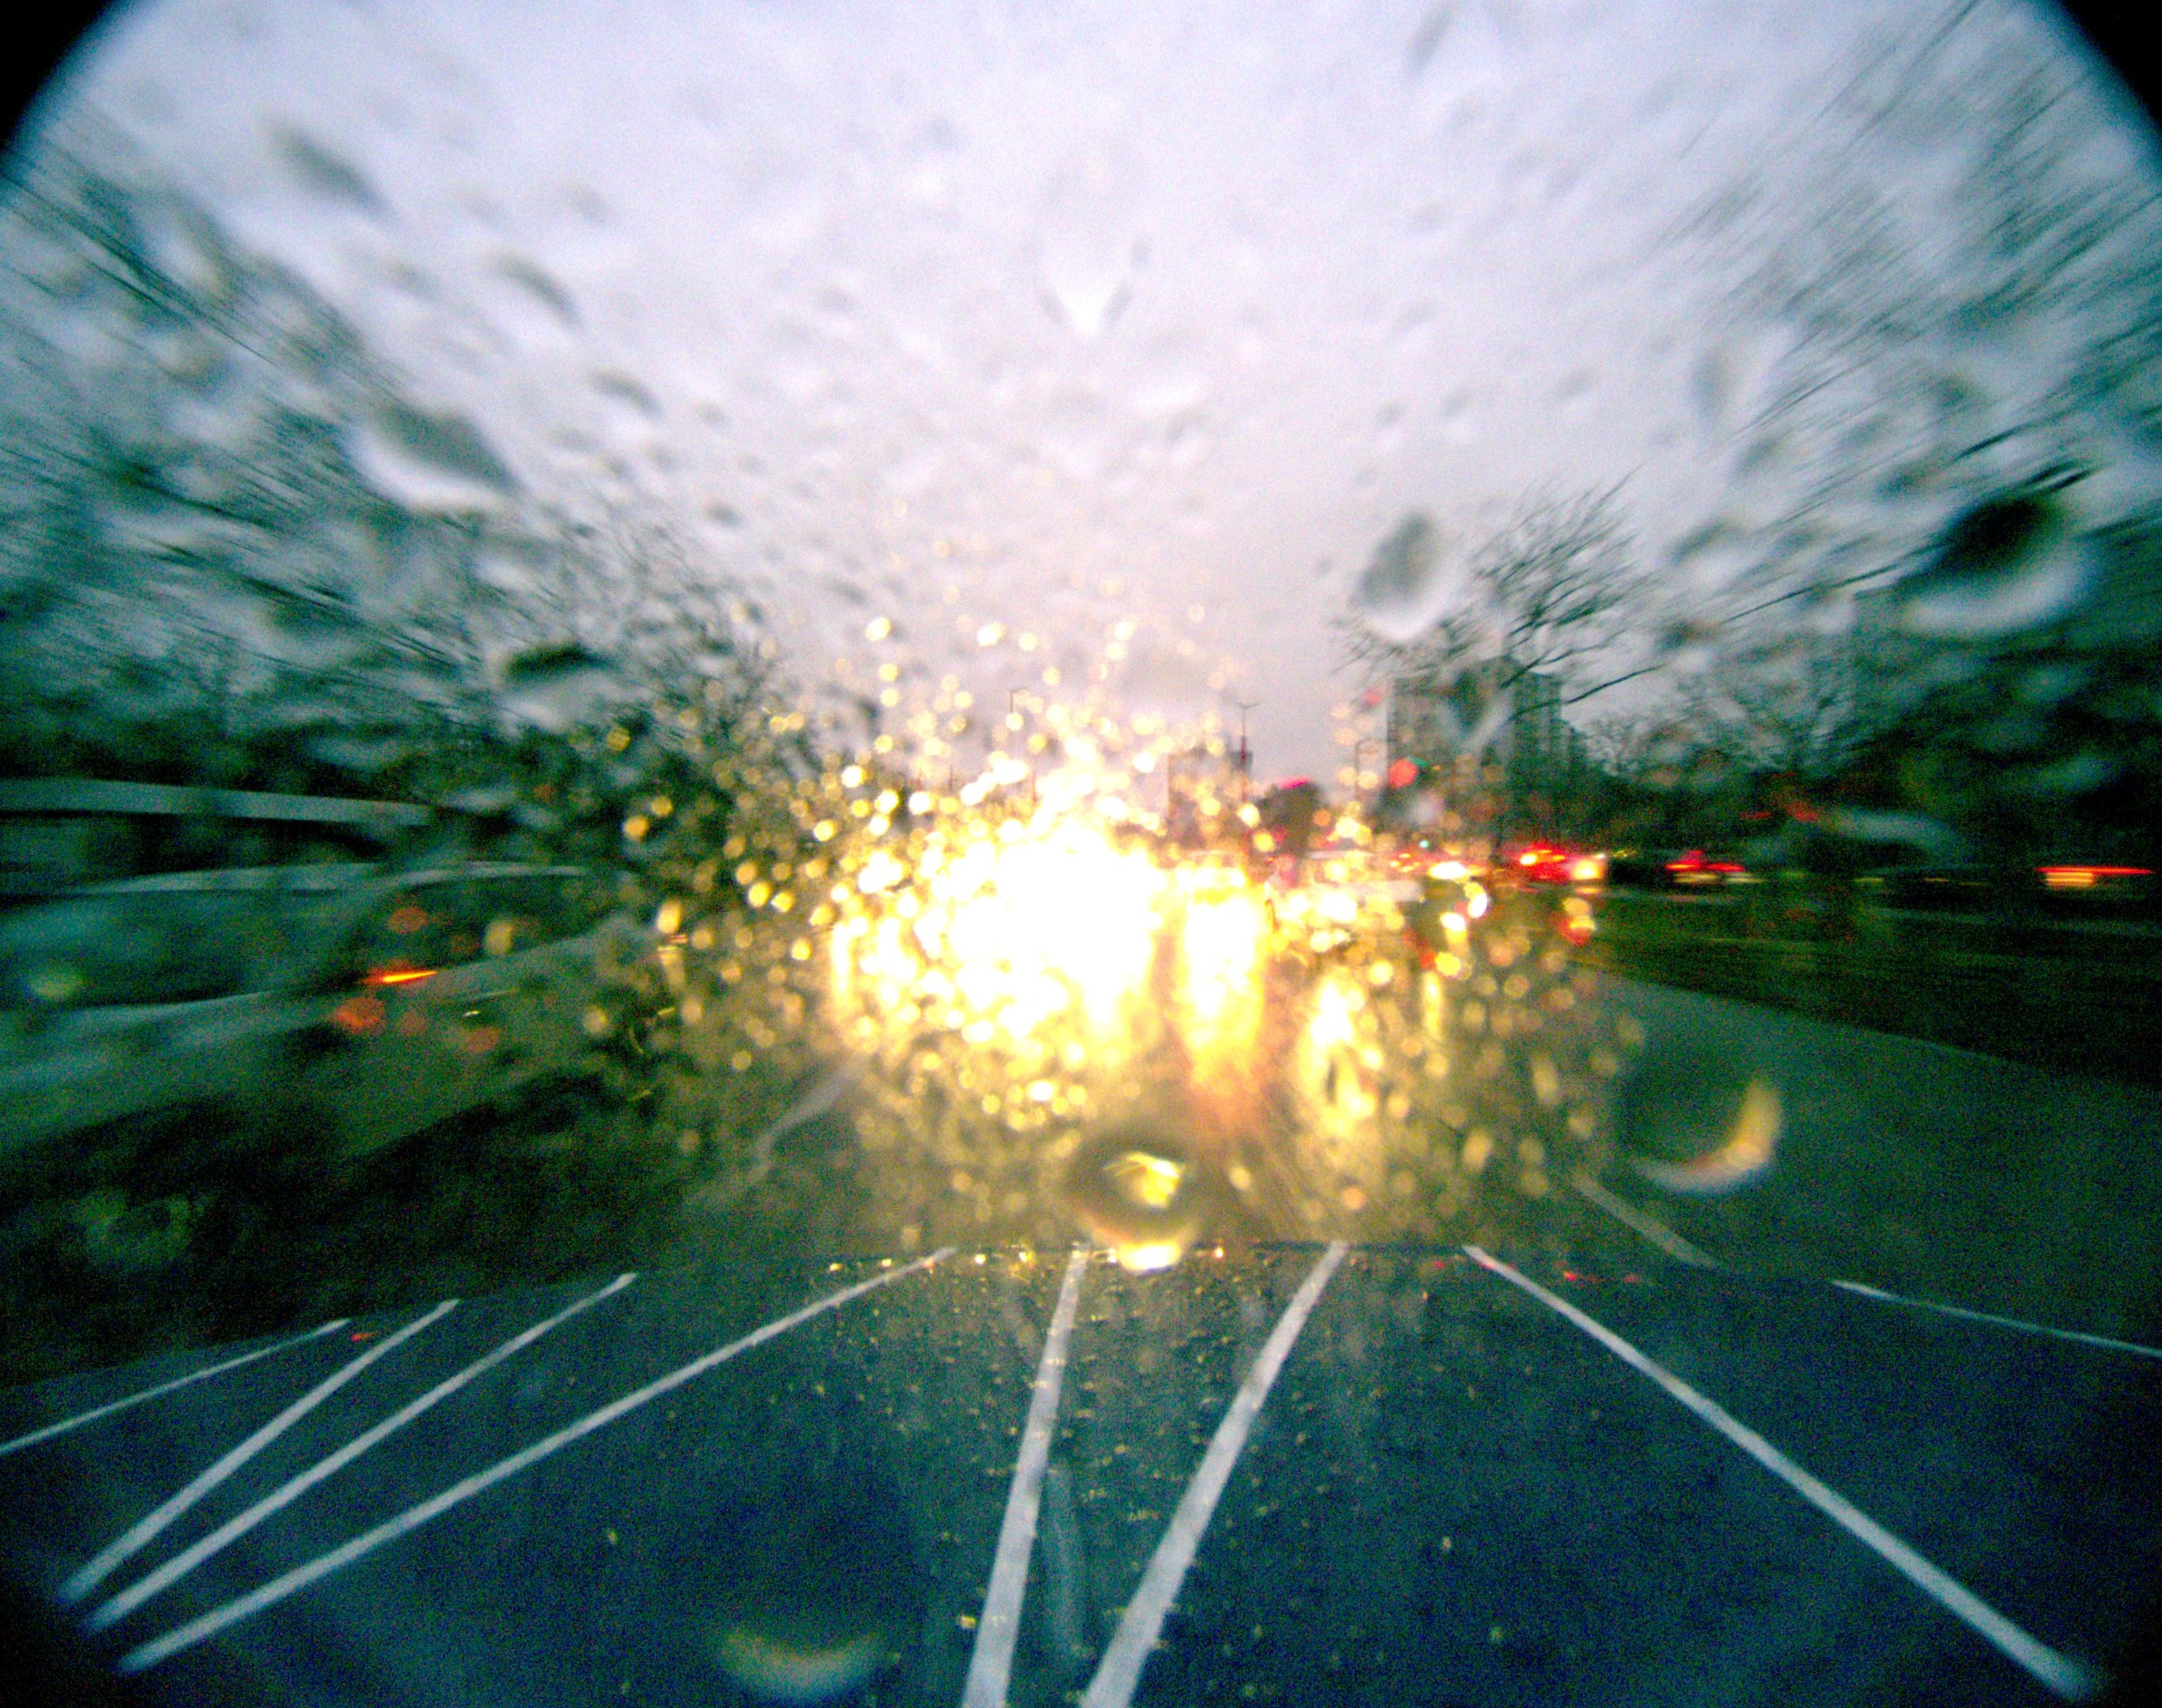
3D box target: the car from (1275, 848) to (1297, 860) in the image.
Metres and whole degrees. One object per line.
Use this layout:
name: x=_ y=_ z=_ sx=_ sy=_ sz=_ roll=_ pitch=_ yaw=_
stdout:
car: x=26.524 y=0.030 z=98.451 sx=1.623 sy=1.486 sz=4.016 roll=-1 pitch=0 yaw=-1

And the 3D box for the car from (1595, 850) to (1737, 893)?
car: x=21.889 y=0.595 z=28.726 sx=1.774 sy=1.481 sz=4.649 roll=-1 pitch=0 yaw=0

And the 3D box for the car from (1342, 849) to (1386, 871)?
car: x=18.935 y=0.409 z=50.937 sx=1.656 sy=1.412 sz=3.326 roll=-1 pitch=0 yaw=-1

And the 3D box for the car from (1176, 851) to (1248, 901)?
car: x=4.486 y=0.706 z=26.530 sx=1.694 sy=1.530 sz=4.189 roll=-2 pitch=1 yaw=-1

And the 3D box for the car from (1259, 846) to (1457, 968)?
car: x=4.256 y=0.707 z=12.393 sx=1.718 sy=1.638 sz=4.146 roll=-1 pitch=1 yaw=0

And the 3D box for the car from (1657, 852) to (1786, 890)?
car: x=25.467 y=0.634 z=30.399 sx=1.760 sy=1.390 sz=3.999 roll=-1 pitch=1 yaw=0

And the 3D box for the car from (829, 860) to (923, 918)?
car: x=-6.424 y=1.031 z=24.299 sx=1.972 sy=1.610 sz=4.546 roll=0 pitch=0 yaw=-3

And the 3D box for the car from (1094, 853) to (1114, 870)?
car: x=2.531 y=0.795 z=83.655 sx=1.998 sy=1.652 sz=3.999 roll=-2 pitch=1 yaw=0

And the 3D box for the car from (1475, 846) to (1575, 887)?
car: x=18.343 y=0.477 z=31.594 sx=1.774 sy=1.577 sz=4.032 roll=-1 pitch=0 yaw=-1

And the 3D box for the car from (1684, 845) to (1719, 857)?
car: x=80.893 y=-0.368 z=99.050 sx=4.605 sy=1.521 sz=1.995 roll=-1 pitch=1 yaw=-29

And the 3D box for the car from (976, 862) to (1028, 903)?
car: x=-3.047 y=1.062 z=29.922 sx=1.882 sy=1.368 sz=4.752 roll=-1 pitch=1 yaw=-4

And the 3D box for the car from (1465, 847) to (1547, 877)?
car: x=22.016 y=0.386 z=39.609 sx=1.774 sy=1.486 sz=4.439 roll=-1 pitch=0 yaw=-1

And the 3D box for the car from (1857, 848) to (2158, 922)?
car: x=21.490 y=0.632 z=17.989 sx=1.774 sy=1.528 sz=4.446 roll=-1 pitch=0 yaw=1

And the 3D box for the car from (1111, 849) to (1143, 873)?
car: x=3.202 y=0.472 z=53.237 sx=1.953 sy=1.590 sz=4.123 roll=-1 pitch=1 yaw=-1

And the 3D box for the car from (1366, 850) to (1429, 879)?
car: x=18.558 y=0.582 z=44.774 sx=1.862 sy=1.589 sz=4.287 roll=-1 pitch=0 yaw=-1

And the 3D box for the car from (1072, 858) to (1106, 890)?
car: x=0.385 y=1.042 z=41.117 sx=1.679 sy=1.590 sz=4.044 roll=-1 pitch=1 yaw=-1

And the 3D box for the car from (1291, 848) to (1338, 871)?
car: x=16.303 y=0.376 z=53.296 sx=1.862 sy=1.572 sz=4.078 roll=-1 pitch=0 yaw=-3

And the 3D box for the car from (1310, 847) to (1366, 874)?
car: x=15.527 y=0.383 z=46.160 sx=1.774 sy=1.527 sz=4.840 roll=-1 pitch=0 yaw=0

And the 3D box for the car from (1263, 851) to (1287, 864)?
car: x=22.939 y=0.417 z=89.872 sx=1.774 sy=1.544 sz=3.946 roll=-1 pitch=0 yaw=-1

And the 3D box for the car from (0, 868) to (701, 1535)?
car: x=-3.677 y=0.935 z=3.271 sx=1.820 sy=1.609 sz=4.410 roll=-1 pitch=1 yaw=0

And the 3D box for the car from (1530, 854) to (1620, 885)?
car: x=25.445 y=0.759 z=39.319 sx=1.774 sy=1.486 sz=4.439 roll=-1 pitch=0 yaw=-1

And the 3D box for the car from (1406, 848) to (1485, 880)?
car: x=18.275 y=0.457 z=38.361 sx=1.774 sy=1.524 sz=4.524 roll=-1 pitch=0 yaw=-1

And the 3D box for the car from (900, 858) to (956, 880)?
car: x=-9.522 y=0.903 z=47.000 sx=1.640 sy=1.302 sz=3.988 roll=-1 pitch=1 yaw=-41
